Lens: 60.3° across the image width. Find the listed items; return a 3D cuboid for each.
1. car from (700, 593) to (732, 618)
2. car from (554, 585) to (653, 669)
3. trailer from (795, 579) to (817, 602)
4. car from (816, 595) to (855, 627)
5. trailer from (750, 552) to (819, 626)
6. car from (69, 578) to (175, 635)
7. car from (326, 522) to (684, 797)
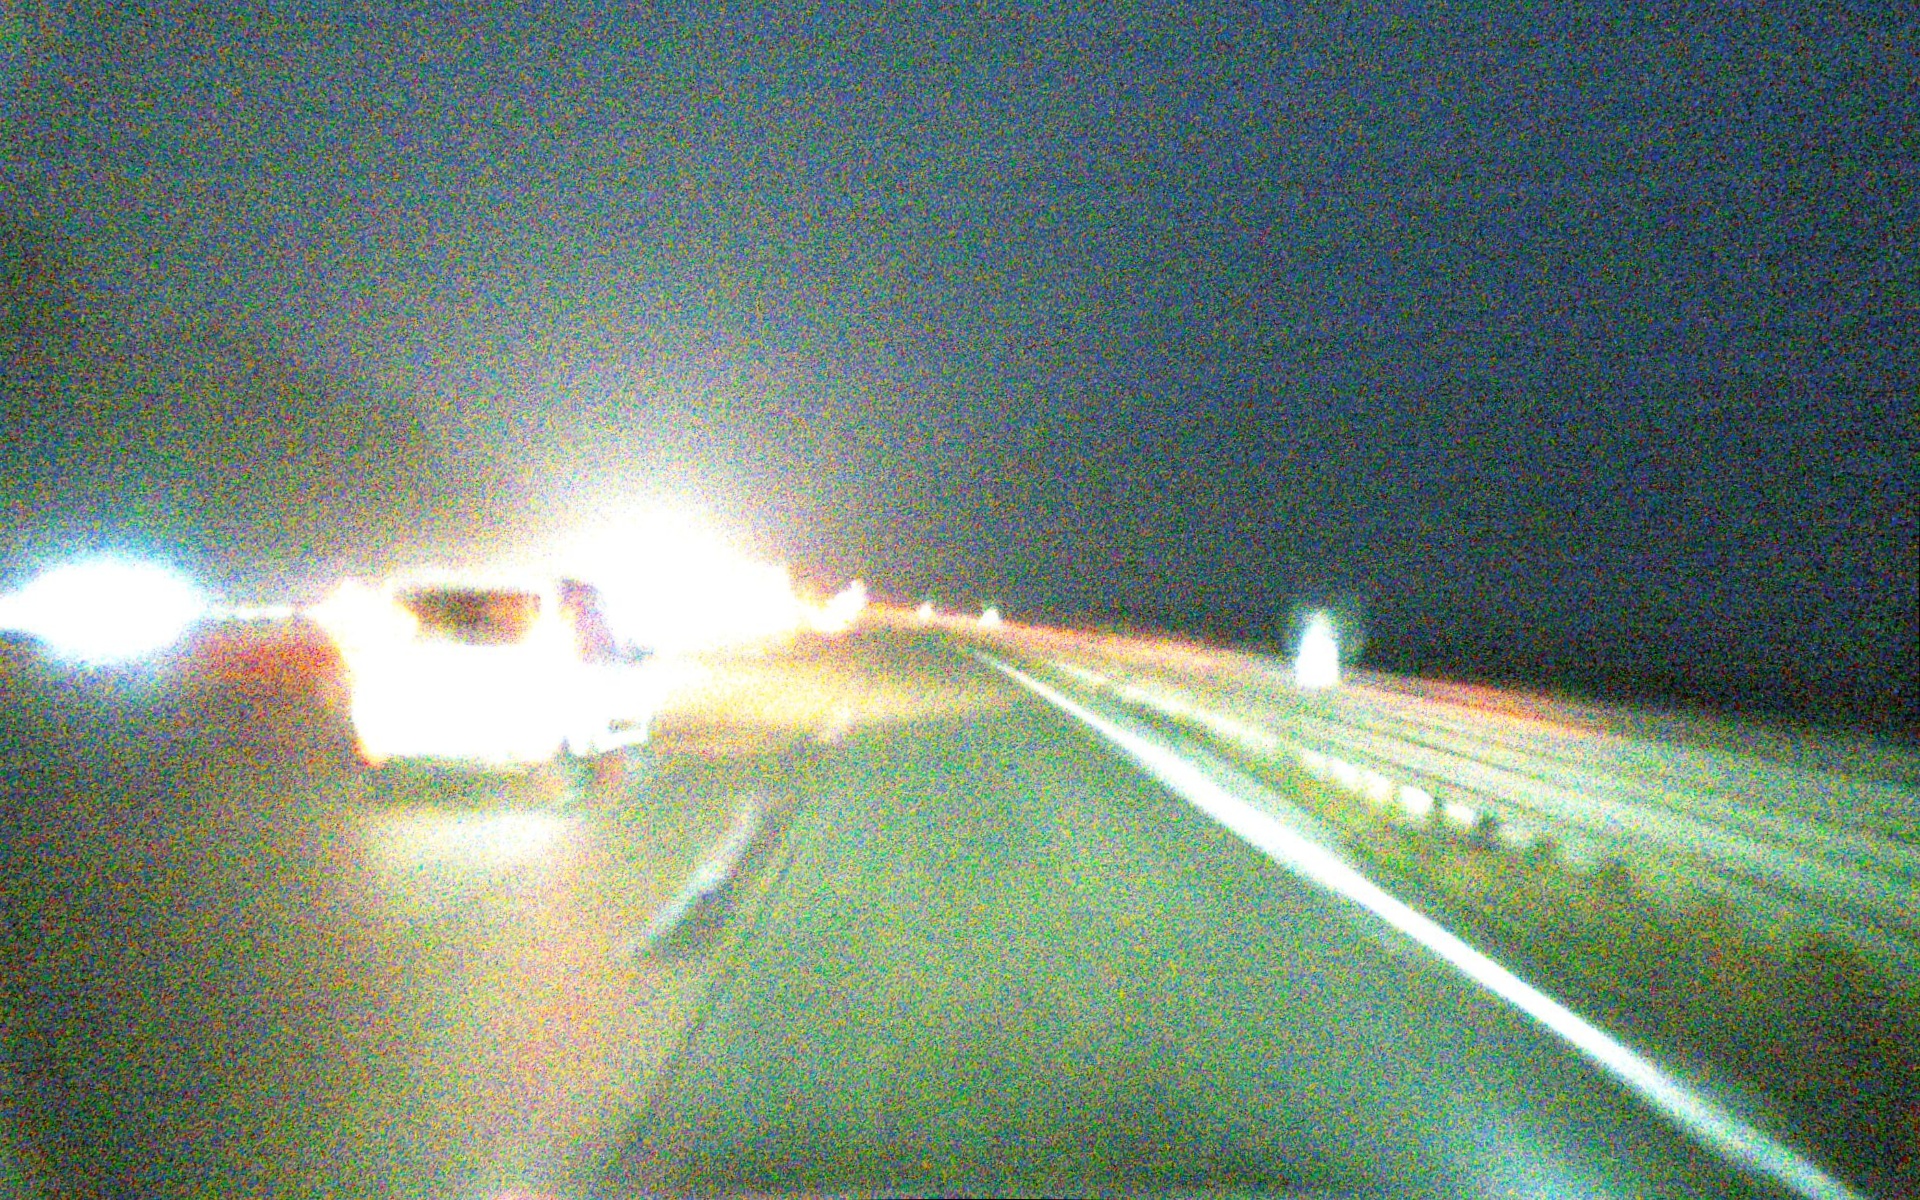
[{"bbox_3d":[-17.049,0.376,115.741,1.955,1.646,3.995,3,0,-6],"label":"car"},{"bbox_3d":[-9.675,0.717,45.213,1.955,2.049,4.563,4,-1,-5],"label":"car"},{"bbox_3d":[-20.115,-1.168,216.739,2.635,2.746,12.843,4,-1,-5],"label":"trailer"},{"bbox_3d":[-7.818,0.714,104.017,1.953,1.850,4.000,3,-1,1],"label":"car"},{"bbox_3d":[-9.965,-0.504,95.464,2.539,3.790,13.648,4,-1,-1],"label":"trailer"},{"bbox_3d":[-33.150,0.274,65.551,1.954,2.049,4.403,3,-1,-2],"label":"car"},{"bbox_3d":[-3.830,0.470,14.922,1.953,2.049,5.015,0,-1,-2],"label":"car"}]
